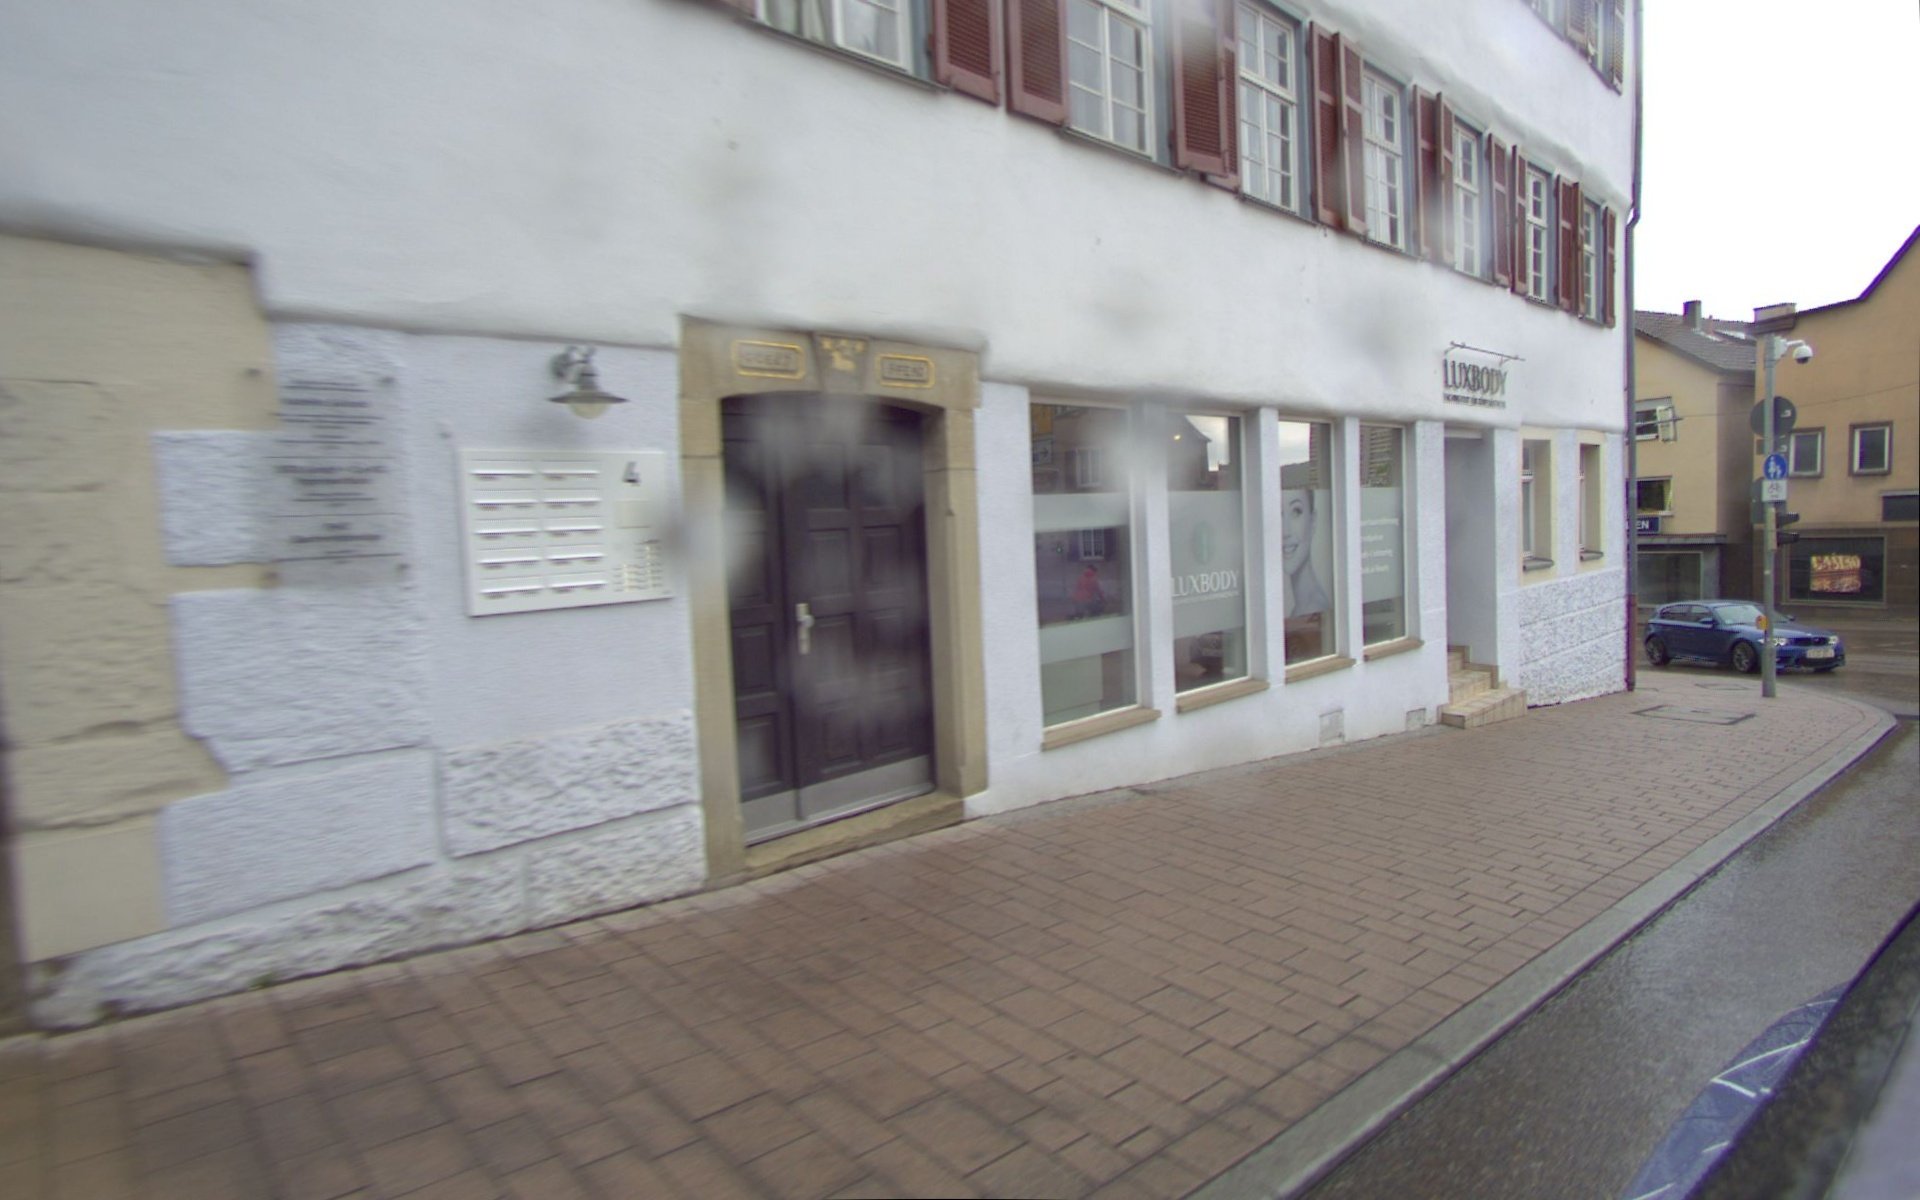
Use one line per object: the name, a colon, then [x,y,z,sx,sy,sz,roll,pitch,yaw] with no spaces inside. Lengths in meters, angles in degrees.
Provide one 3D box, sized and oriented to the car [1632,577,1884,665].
car: [16.581,0.448,21.376,1.741,1.552,4.376,-4,-1,0]
